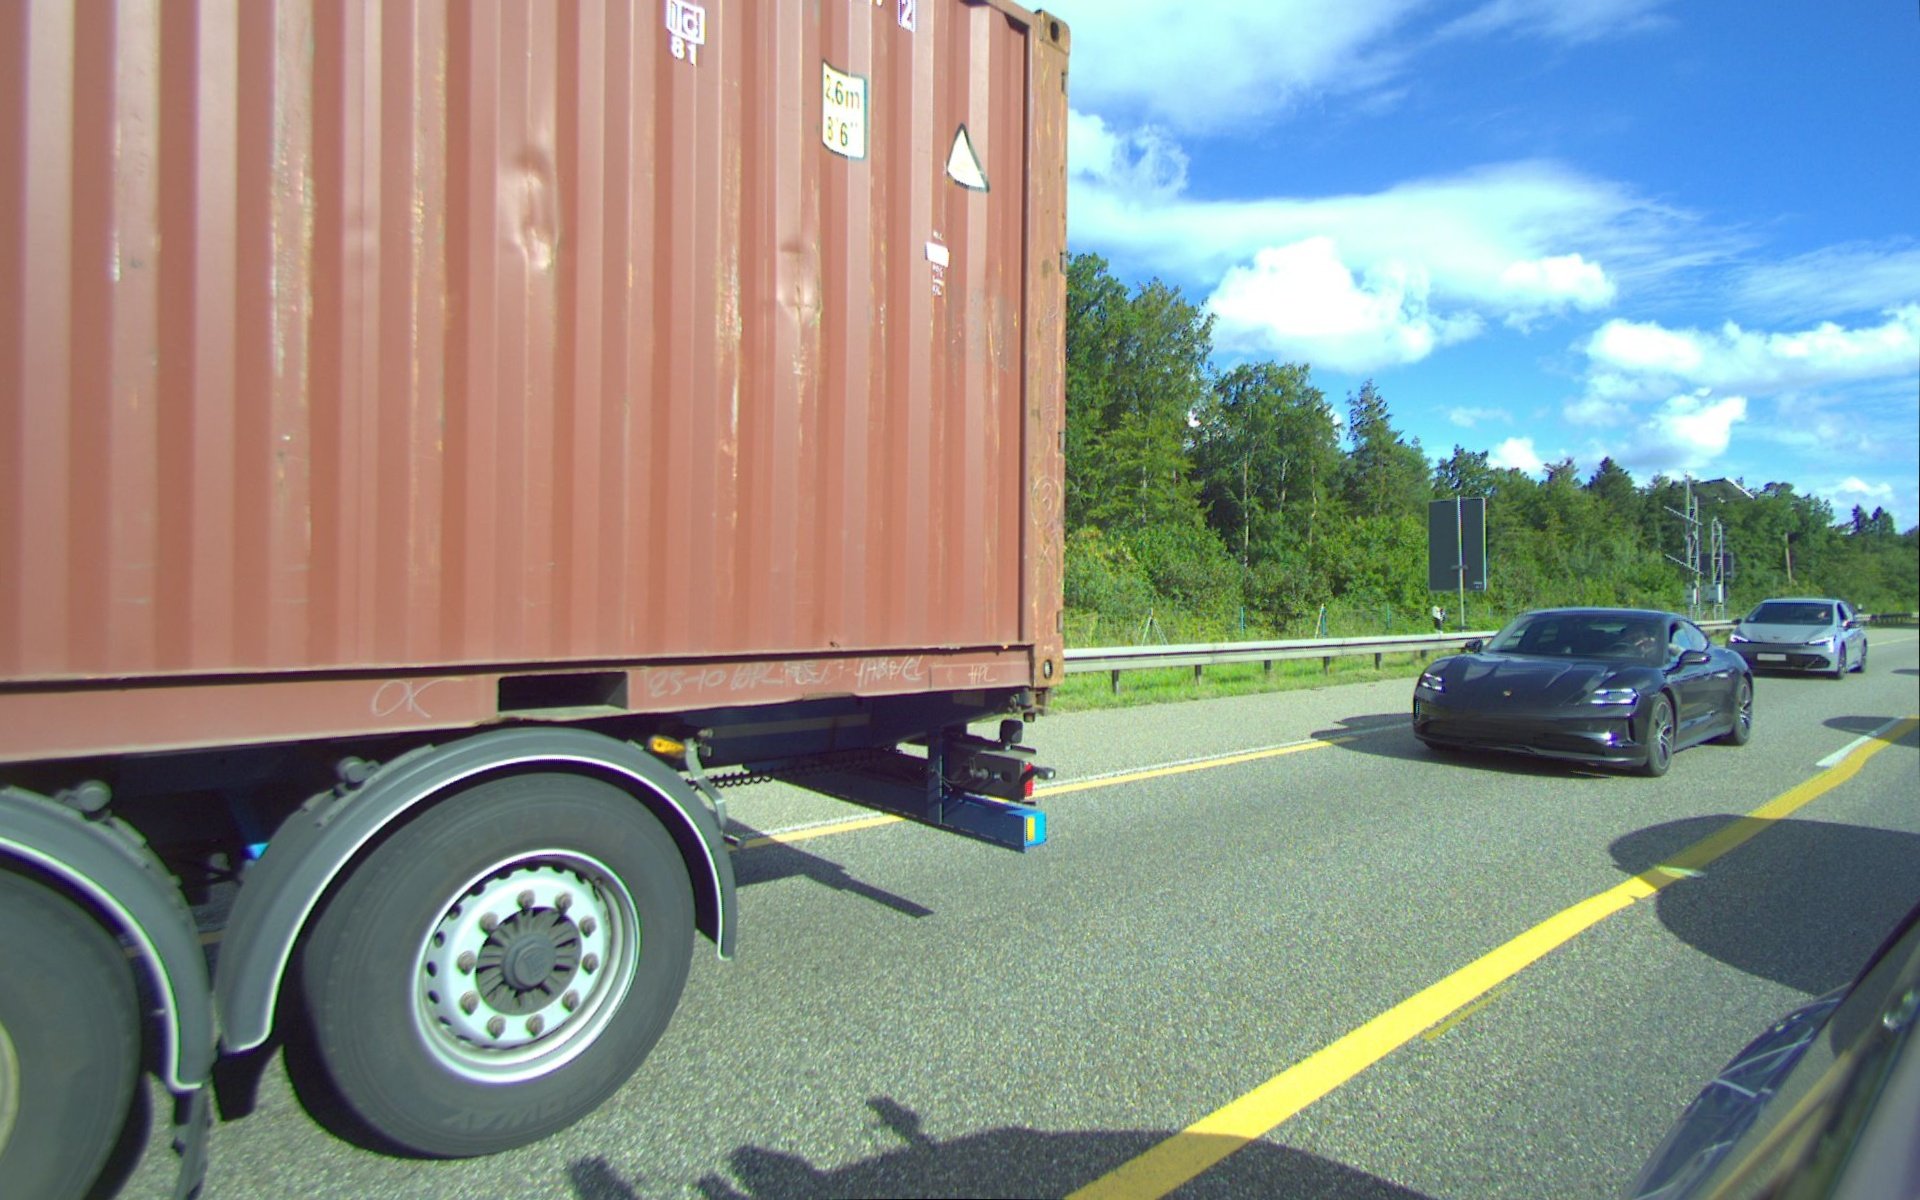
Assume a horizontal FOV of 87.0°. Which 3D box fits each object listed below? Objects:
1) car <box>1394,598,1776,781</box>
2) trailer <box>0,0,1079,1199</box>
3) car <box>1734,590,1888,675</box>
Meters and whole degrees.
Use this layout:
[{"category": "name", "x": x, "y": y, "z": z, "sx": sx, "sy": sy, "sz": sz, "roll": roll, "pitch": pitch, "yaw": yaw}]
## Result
[{"category": "car", "x": 6.217, "y": 0.677, "z": 9.863, "sx": 4.399, "sy": 1.367, "sz": 1.932, "roll": 0, "pitch": 0, "yaw": -41}, {"category": "trailer", "x": -4.783, "y": -0.512, "z": 0.942, "sx": 11.926, "sy": 3.822, "sz": 2.475, "roll": 0, "pitch": 0, "yaw": -42}, {"category": "car", "x": 17.123, "y": 0.568, "z": 20.320, "sx": 3.898, "sy": 1.498, "sz": 1.761, "roll": -1, "pitch": 1, "yaw": -40}]
